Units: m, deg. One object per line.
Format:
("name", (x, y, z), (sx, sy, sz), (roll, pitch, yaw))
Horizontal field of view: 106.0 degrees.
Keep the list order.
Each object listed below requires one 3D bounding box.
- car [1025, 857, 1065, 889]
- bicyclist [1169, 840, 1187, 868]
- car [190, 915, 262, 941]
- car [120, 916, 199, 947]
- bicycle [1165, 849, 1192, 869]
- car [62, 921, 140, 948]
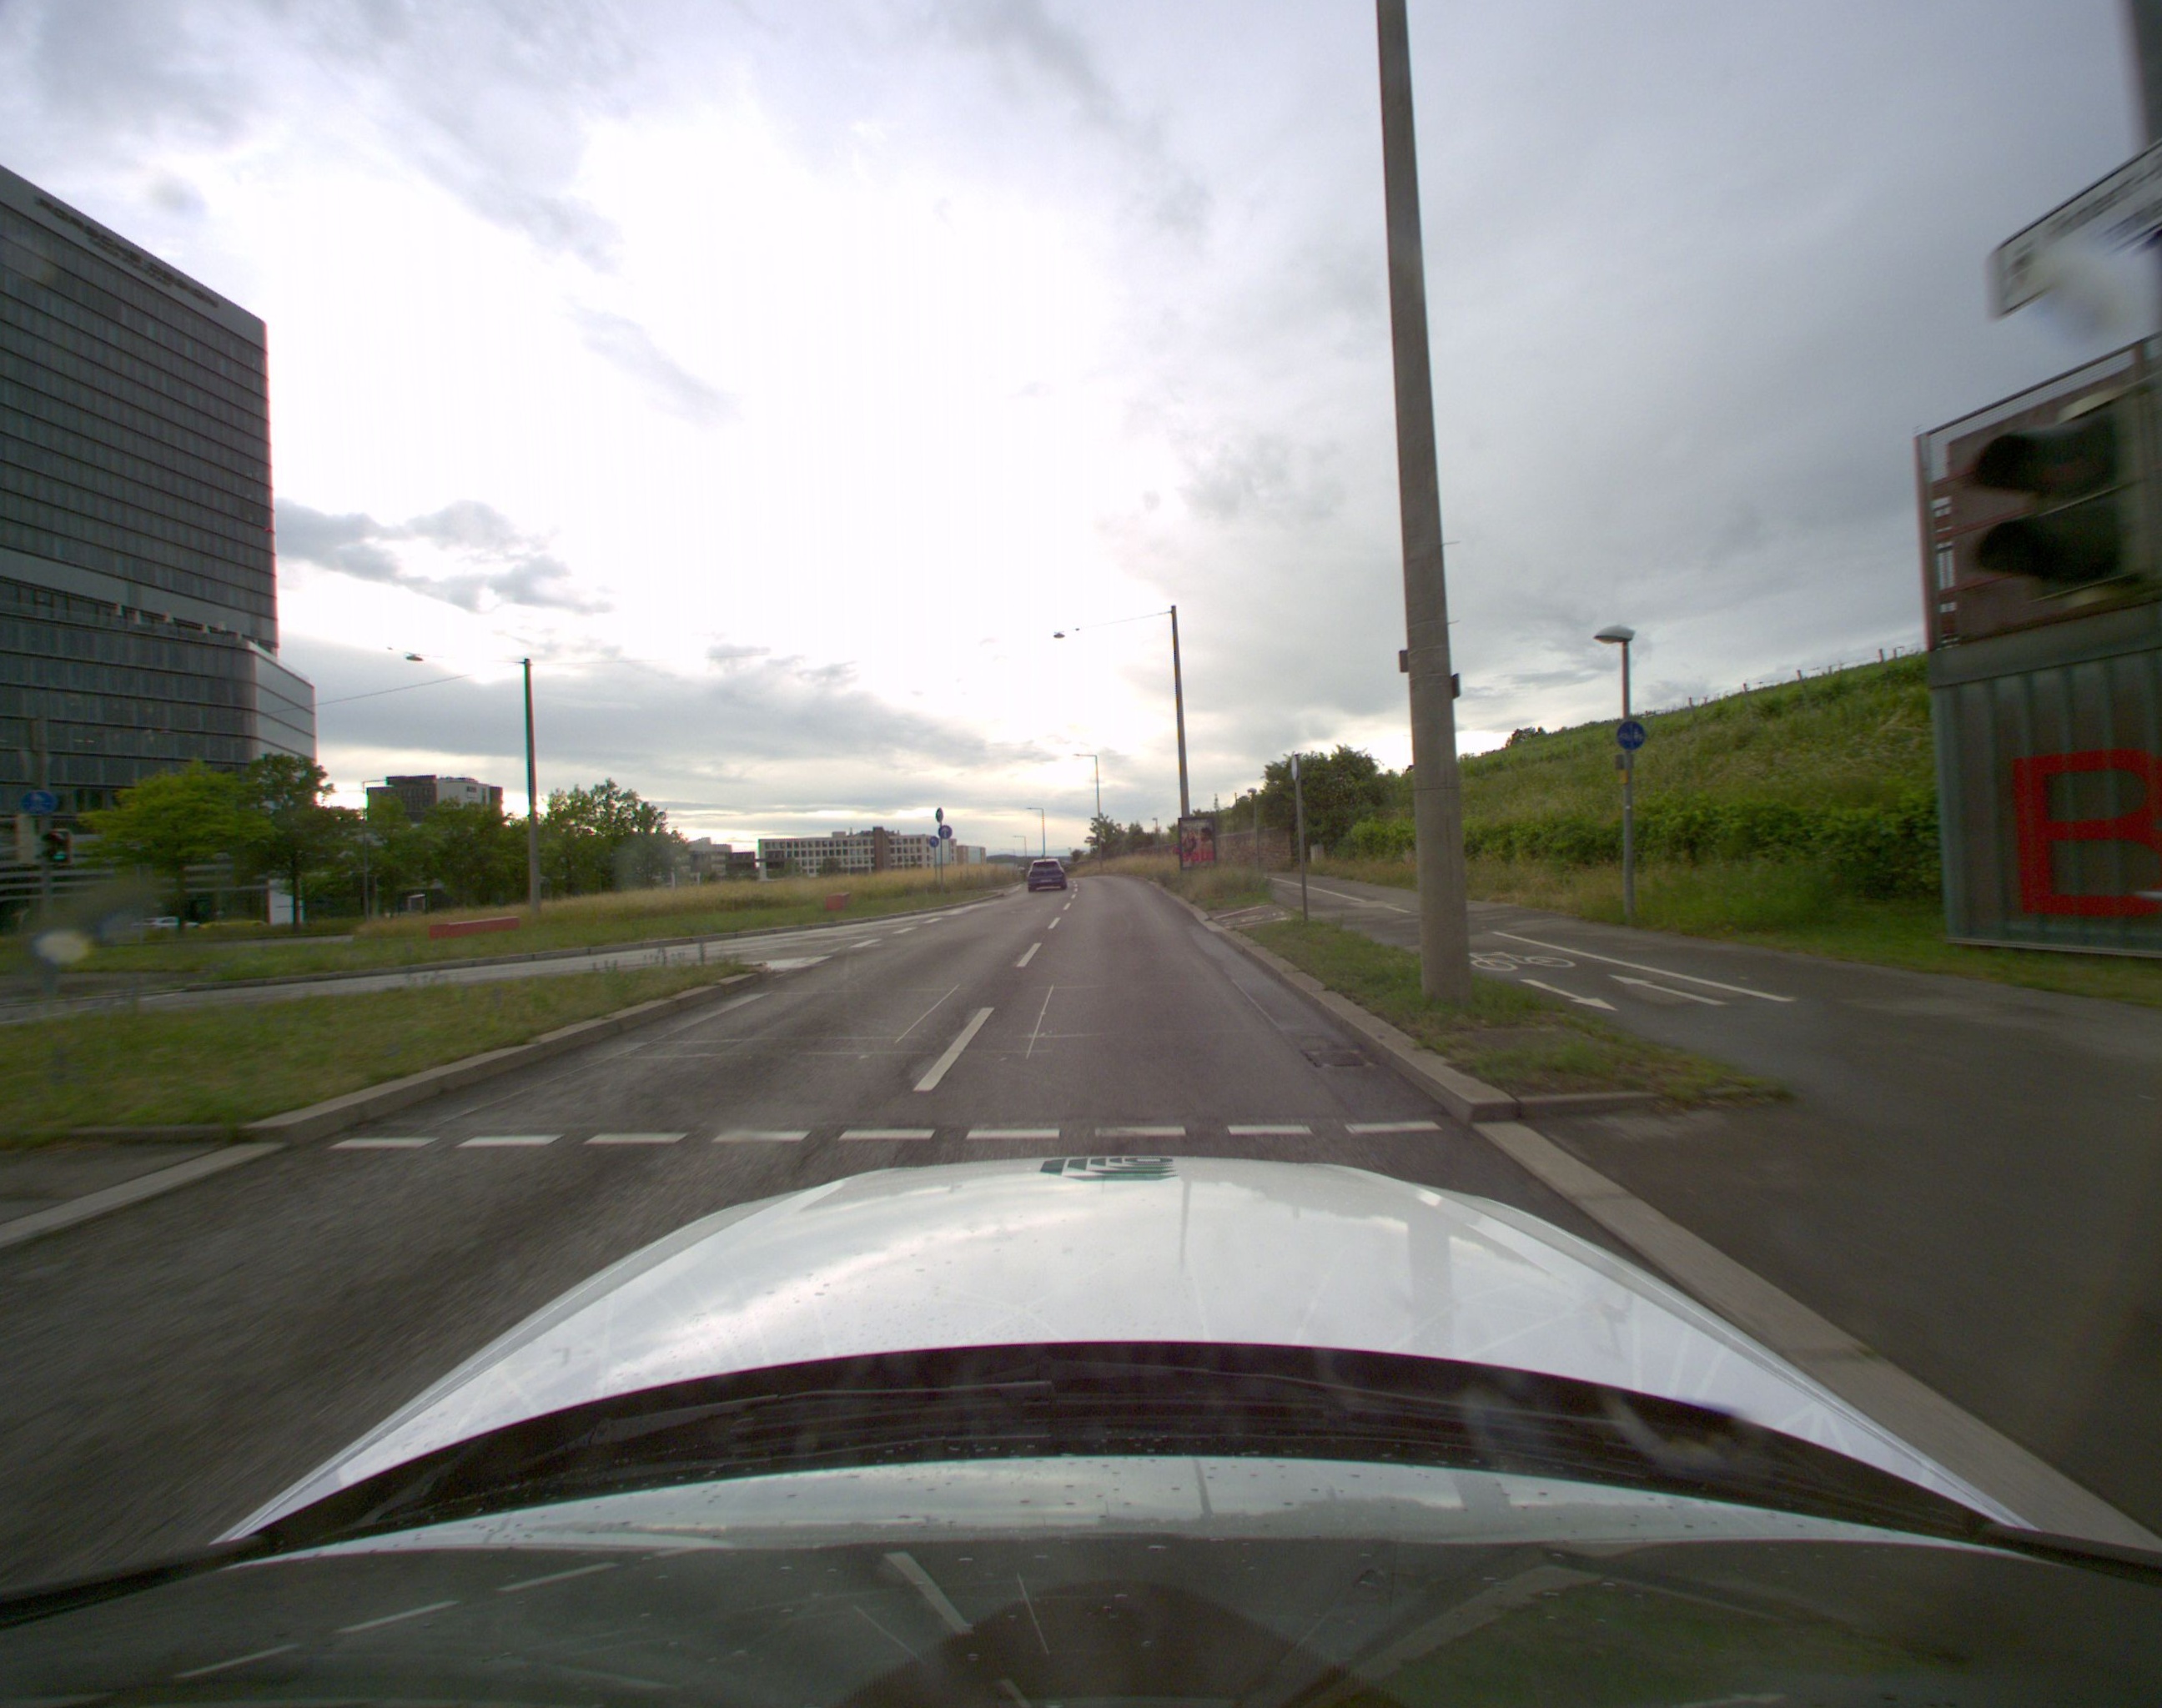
("car", (-1.659, 0.863, 38.503), (1.743, 1.420, 3.477), (0, -1, -1))
("bicyclist", (6.771, 0.040, 56.931), (0.869, 1.909, 1.289), (0, -2, -11))
("car", (-78.150, 6.728, 74.495), (1.977, 2.014, 4.019), (-1, -1, 18))
("car", (-70.733, 5.913, 62.600), (1.995, 2.014, 3.983), (0, -1, -12))
("bicycle", (6.774, 0.359, 56.899), (0.869, 1.288, 3.473), (1, -2, -11))
("car", (-88.315, 7.218, 73.482), (1.979, 2.014, 4.014), (-1, -1, 13))
